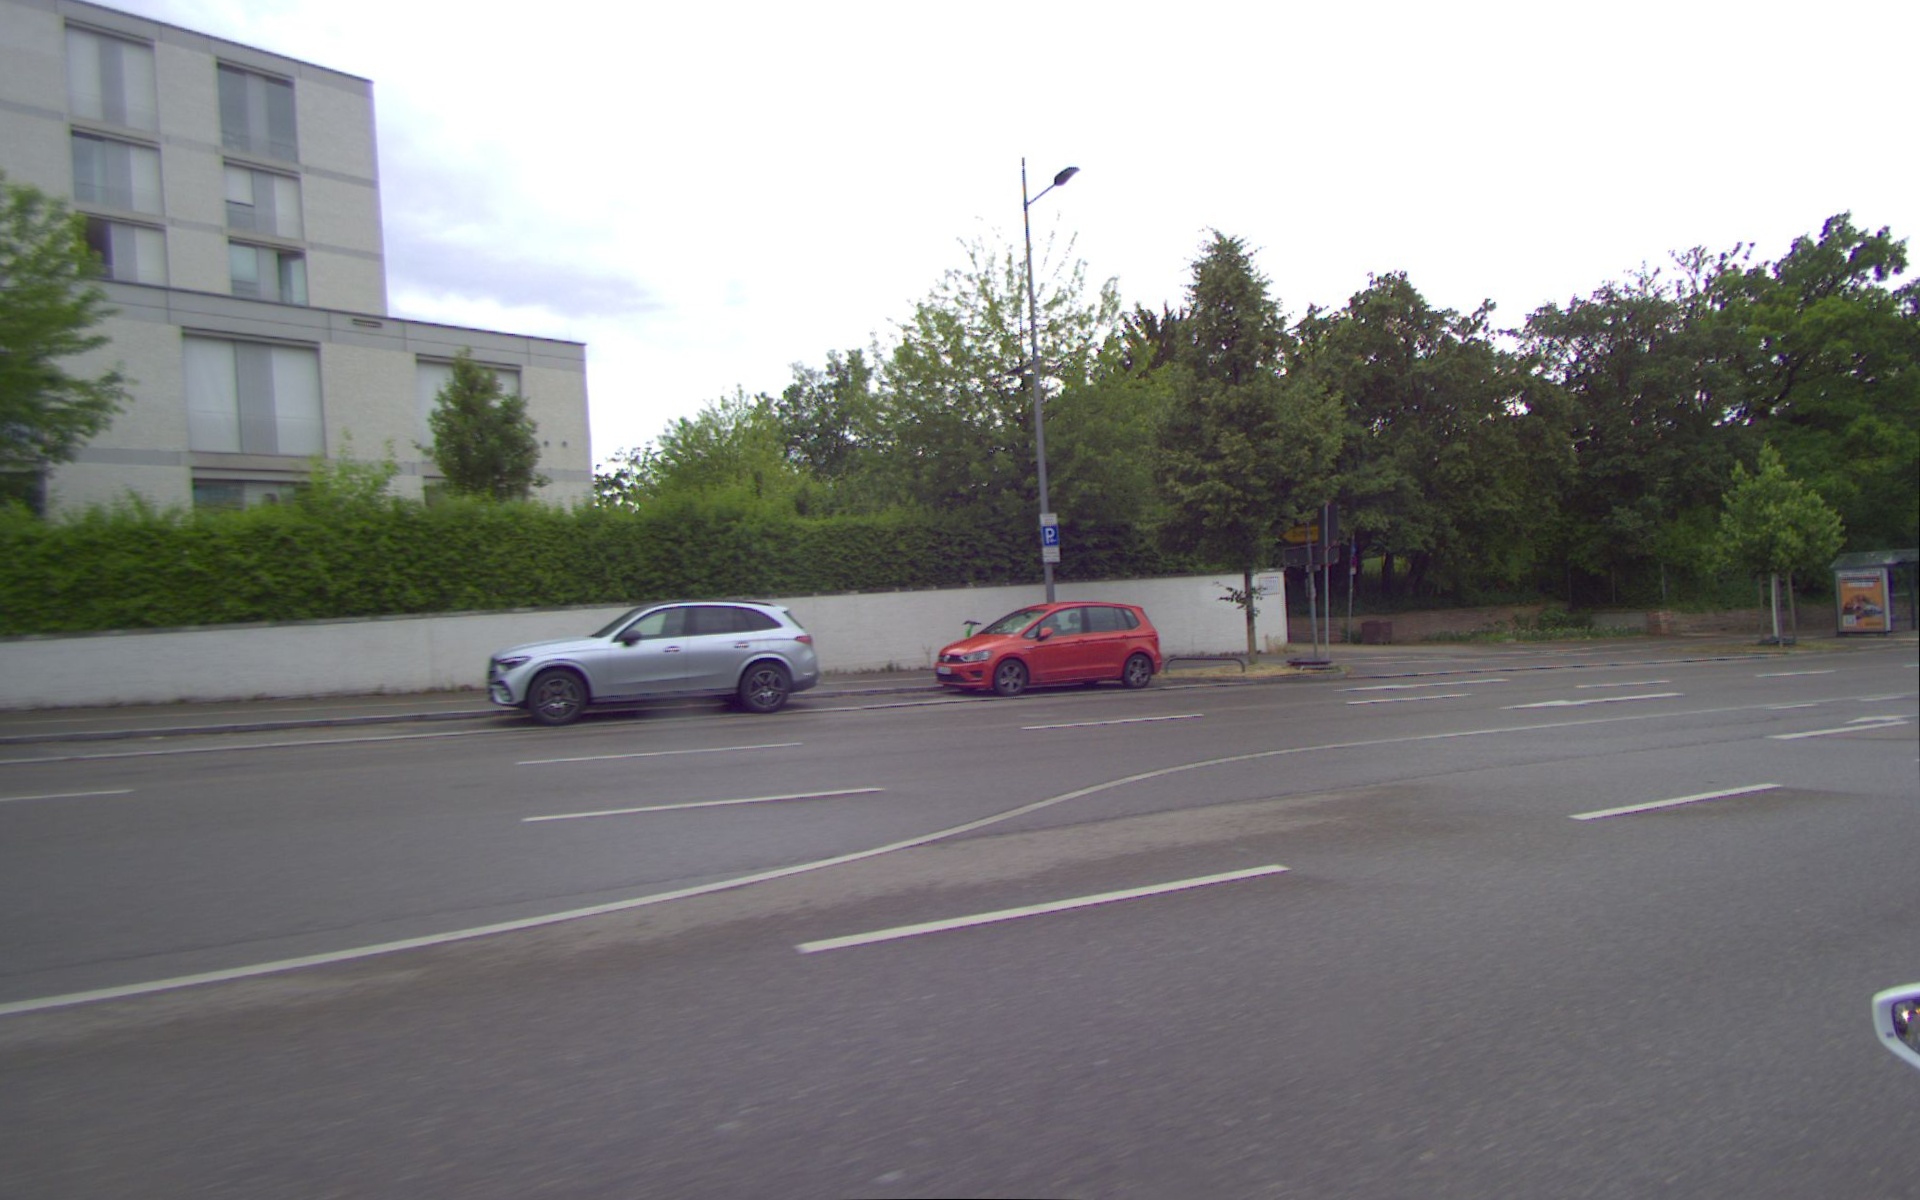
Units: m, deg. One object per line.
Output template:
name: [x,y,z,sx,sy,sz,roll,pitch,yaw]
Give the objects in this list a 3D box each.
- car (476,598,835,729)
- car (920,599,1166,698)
car: [-4.406,0.813,14.739,4.822,1.675,1.757,0,0,-28]
car: [1.516,0.817,17.999,4.163,1.607,1.659,0,-2,-28]
